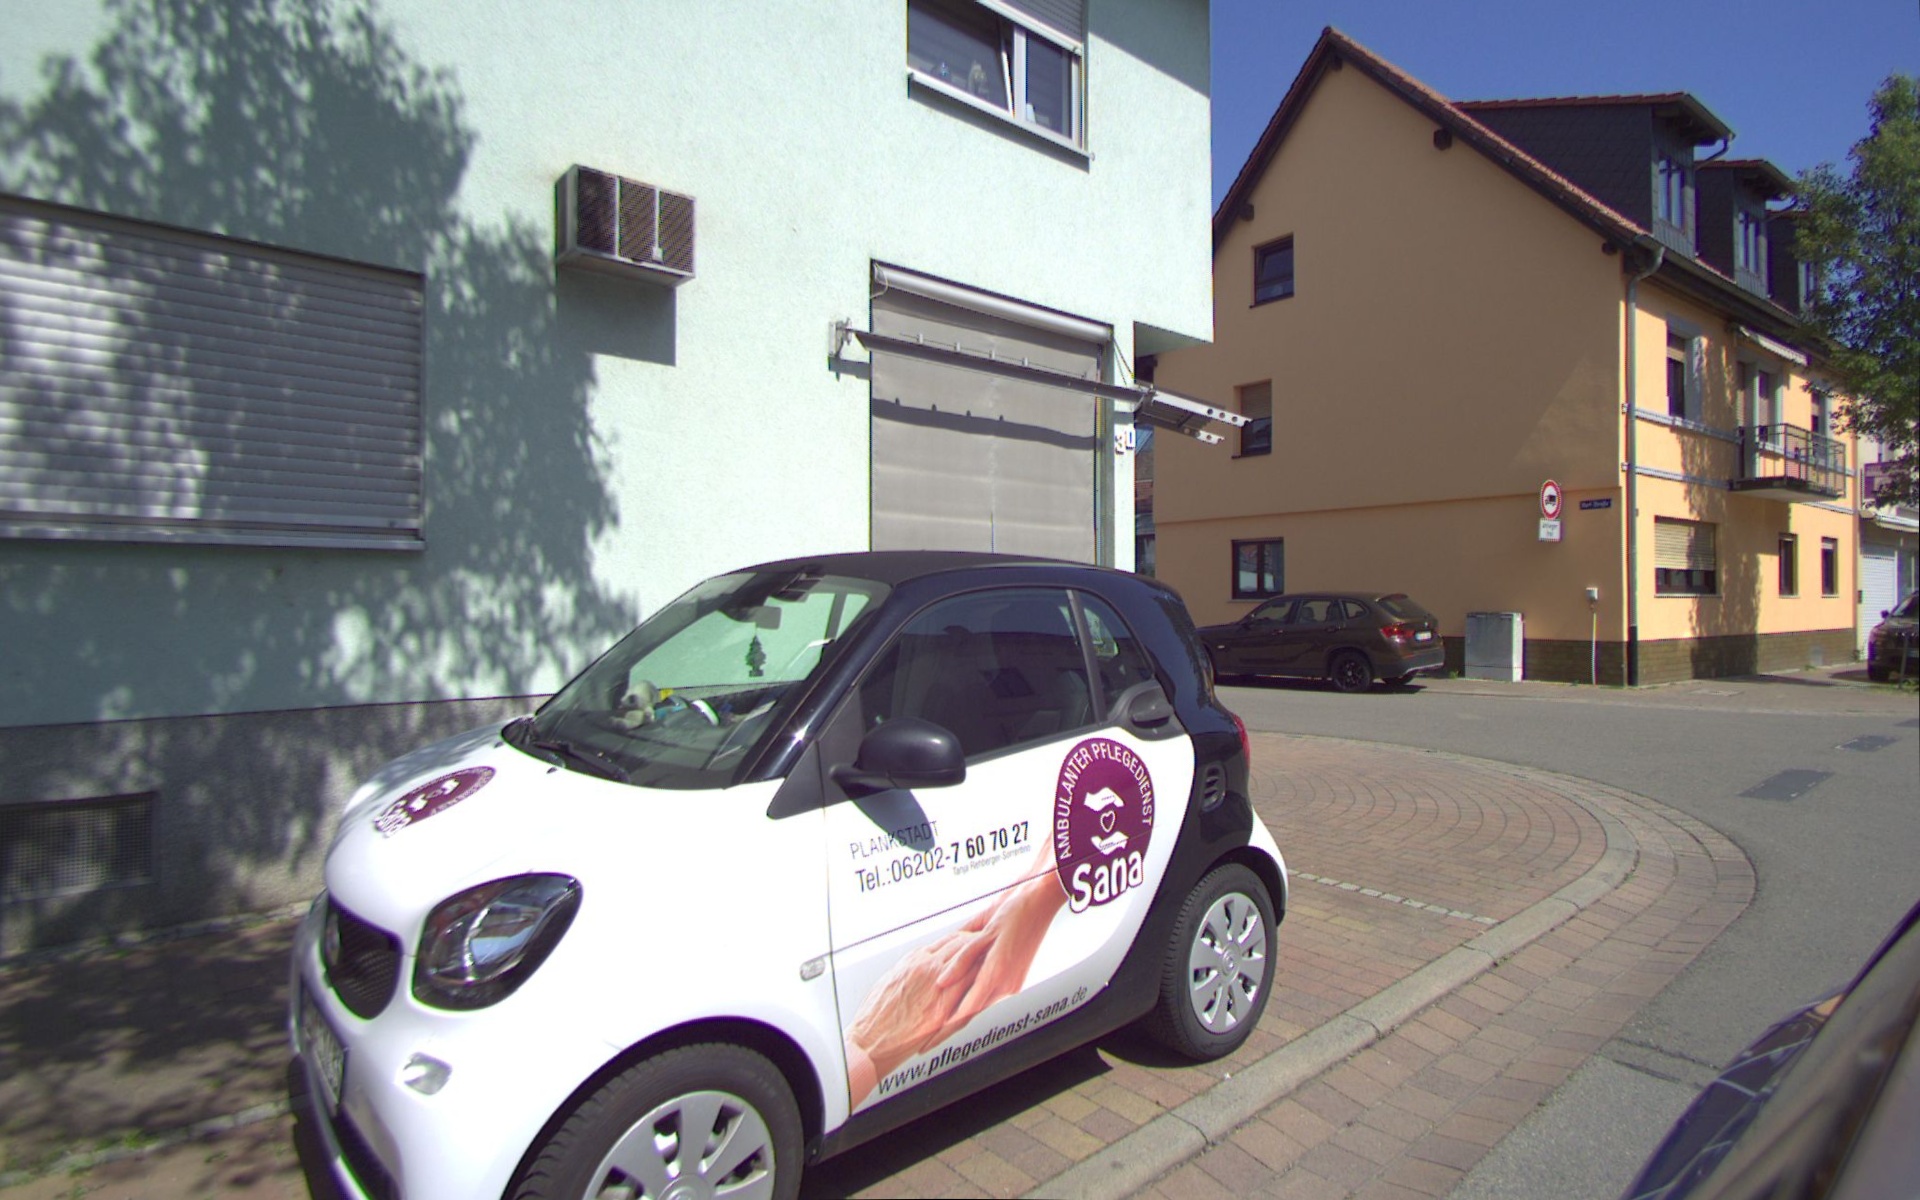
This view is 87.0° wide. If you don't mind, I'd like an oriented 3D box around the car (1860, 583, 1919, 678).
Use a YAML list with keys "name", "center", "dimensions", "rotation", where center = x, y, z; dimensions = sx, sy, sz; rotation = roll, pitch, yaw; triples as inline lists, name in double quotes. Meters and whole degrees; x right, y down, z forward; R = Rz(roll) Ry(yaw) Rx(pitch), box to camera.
- name: "car"
  center: [18.041, 0.497, 18.124]
  dimensions: [4.029, 1.623, 1.931]
  rotation: [-1, 0, -34]

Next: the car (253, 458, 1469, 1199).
- name: "car"
  center: [0.058, 0.549, 3.486]
  dimensions: [3.929, 1.563, 1.713]
  rotation: [-1, 0, -42]

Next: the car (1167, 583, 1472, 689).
- name: "car"
  center: [5.741, 0.521, 16.571]
  dimensions: [1.966, 1.502, 4.293]
  rotation: [-1, 0, -42]

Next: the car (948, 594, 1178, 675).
- name: "car"
  center: [1.969, 0.627, 20.224]
  dimensions: [4.310, 1.436, 1.968]
  rotation: [-1, 0, 44]
